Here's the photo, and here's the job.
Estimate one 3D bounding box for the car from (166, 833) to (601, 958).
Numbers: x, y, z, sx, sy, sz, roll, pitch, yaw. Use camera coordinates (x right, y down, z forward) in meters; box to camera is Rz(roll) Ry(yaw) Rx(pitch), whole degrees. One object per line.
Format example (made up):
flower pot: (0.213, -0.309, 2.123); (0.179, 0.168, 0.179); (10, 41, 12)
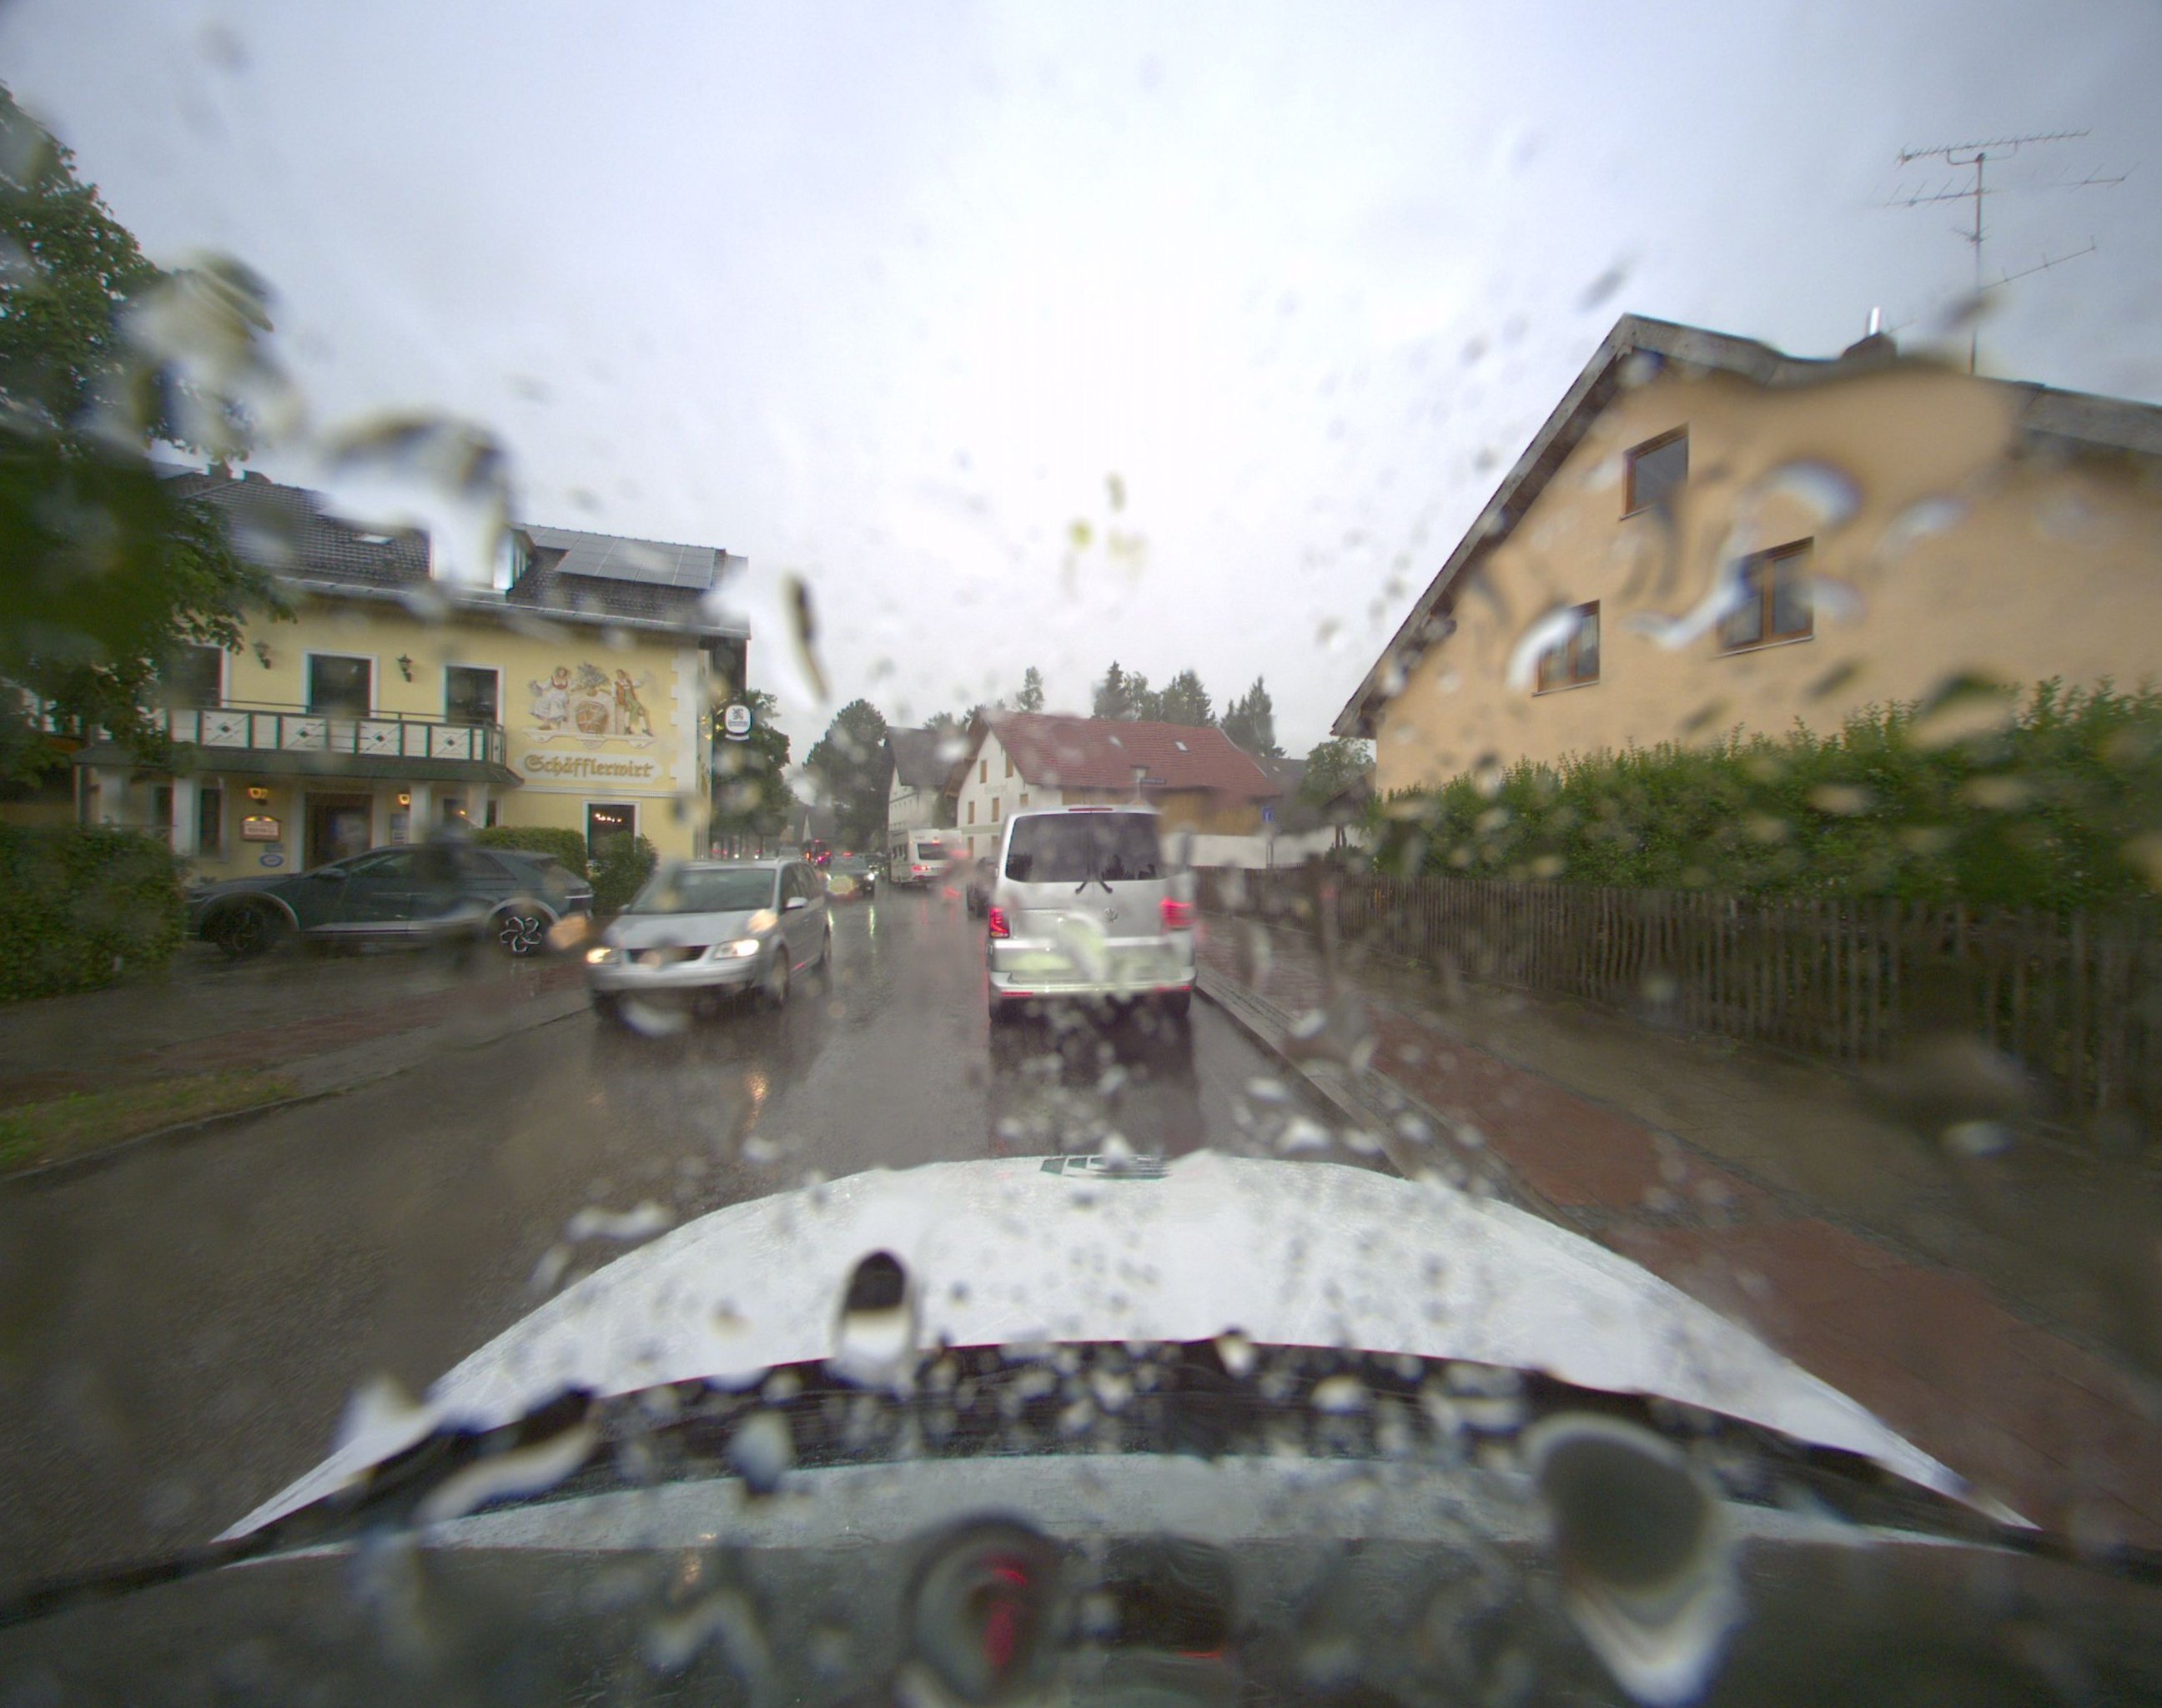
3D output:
car: (-9.896, 0.631, 12.119); (4.497, 1.567, 1.824); (4, 1, -25)

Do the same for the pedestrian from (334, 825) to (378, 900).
pedestrian: (-16.728, 0.197, 18.805); (0.492, 1.690, 0.550); (3, -1, -20)

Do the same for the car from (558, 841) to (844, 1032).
car: (-4.037, 0.759, 9.438); (1.751, 1.677, 3.991); (-2, 0, -6)

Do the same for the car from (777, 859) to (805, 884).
car: (-24.784, 1.503, 69.550); (1.859, 1.971, 4.663); (-1, -1, -24)

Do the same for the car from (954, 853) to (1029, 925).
car: (-2.472, 0.833, 21.621); (1.708, 1.584, 4.671); (-2, 1, -9)

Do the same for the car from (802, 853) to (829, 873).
car: (-27.508, 0.923, 84.223); (2.178, 1.899, 4.976); (1, 0, -23)

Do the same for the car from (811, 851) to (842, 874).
car: (-23.033, 0.765, 73.553); (2.178, 1.899, 4.976); (1, 0, -23)

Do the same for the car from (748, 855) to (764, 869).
car: (-44.027, 1.039, 110.440); (1.870, 1.758, 4.450); (-3, 1, -22)

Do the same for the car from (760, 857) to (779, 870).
car: (-35.664, 1.077, 93.093); (1.870, 1.359, 4.449); (-2, 1, -23)

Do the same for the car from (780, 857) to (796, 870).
car: (-47.558, 1.485, 132.236); (2.178, 1.899, 4.976); (1, 0, -23)

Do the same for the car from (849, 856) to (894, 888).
car: (-14.073, 1.166, 54.442); (2.178, 1.899, 4.976); (1, 0, -23)

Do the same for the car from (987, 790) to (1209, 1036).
car: (0.150, 0.481, 9.134); (1.771, 1.962, 5.073); (-1, 0, 0)

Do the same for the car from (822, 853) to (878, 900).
car: (-8.586, 0.789, 30.080); (1.593, 1.610, 3.512); (-1, 0, -22)

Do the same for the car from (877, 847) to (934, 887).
car: (-9.040, 0.618, 41.538); (2.061, 1.899, 5.138); (-1, 0, -21)

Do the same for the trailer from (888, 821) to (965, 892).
trailer: (-6.997, 0.102, 36.310); (2.279, 2.904, 6.088); (-1, 0, -21)
